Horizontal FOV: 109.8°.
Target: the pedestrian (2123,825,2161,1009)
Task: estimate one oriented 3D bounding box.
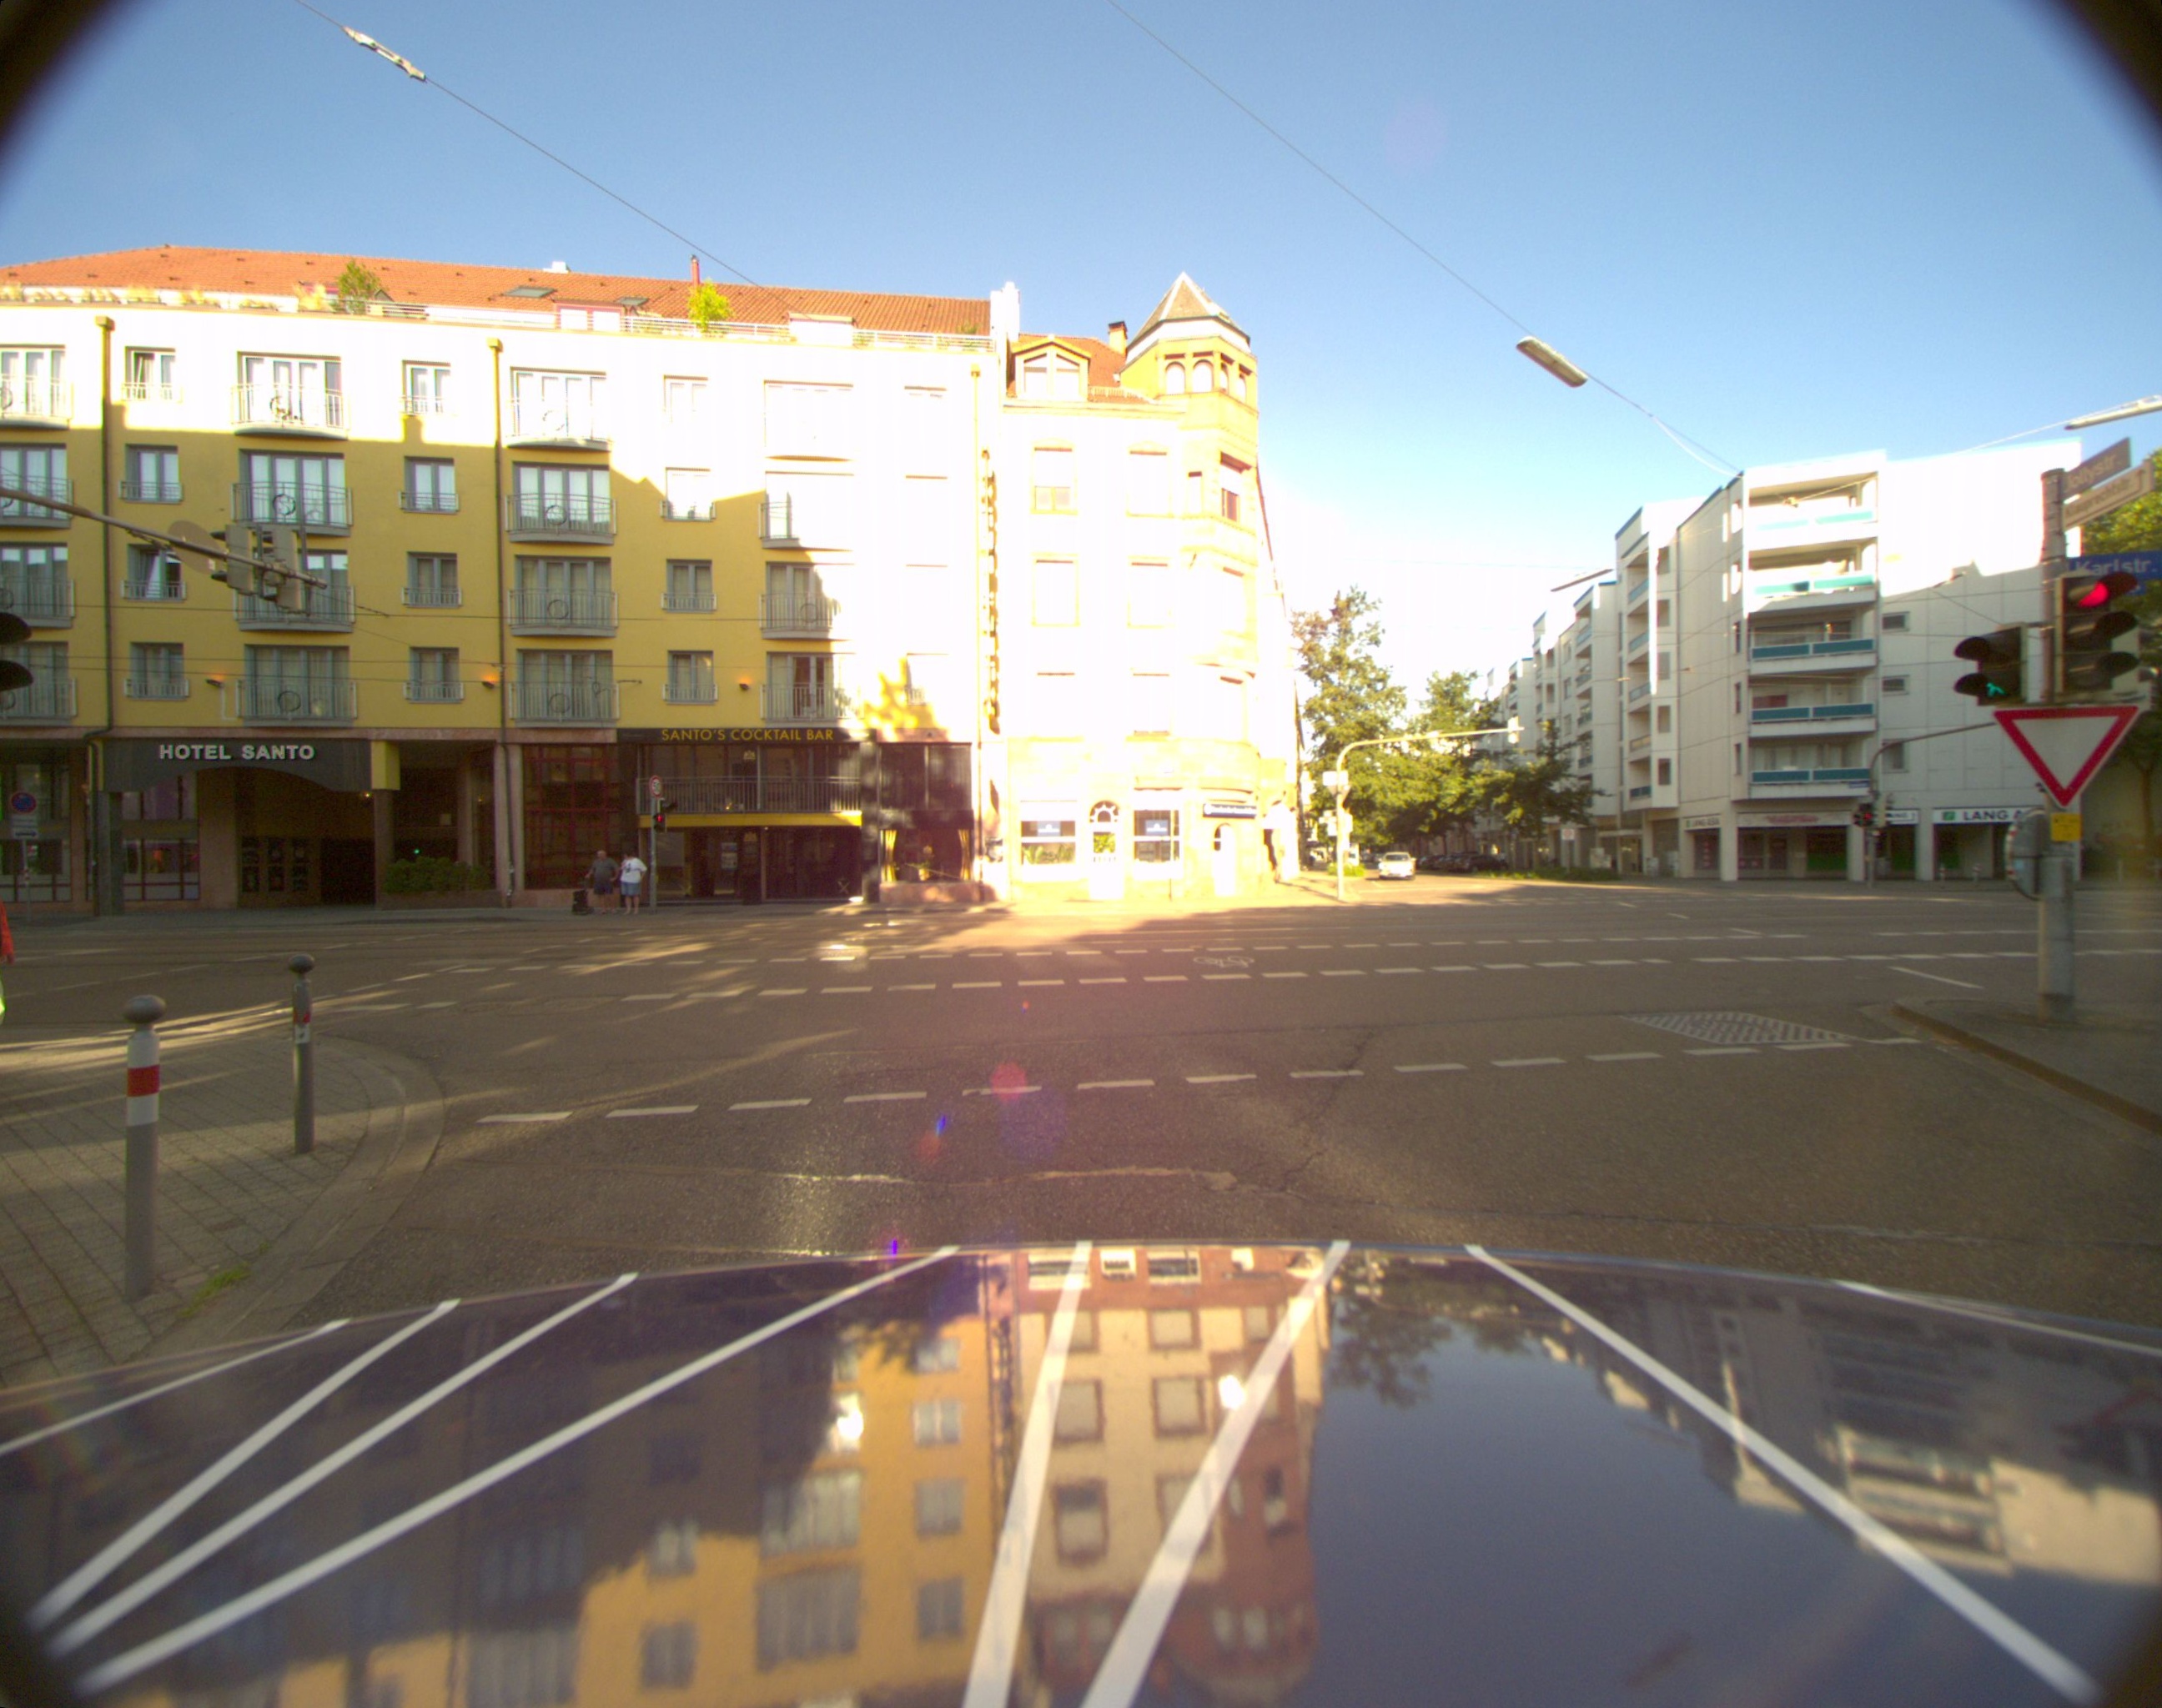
[{"bbox_3d":[10.439,0.571,6.895,0.985,1.688,0.868,-1,1,-16],"label":"pedestrian"}]

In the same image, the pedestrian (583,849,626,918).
[{"bbox_3d":[-13.208,0.801,21.099,0.679,1.831,0.726,-1,4,-5],"label":"pedestrian"}]

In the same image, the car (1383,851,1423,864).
[{"bbox_3d":[40.282,0.374,95.061,4.297,1.576,2.002,-1,0,11],"label":"car"}]

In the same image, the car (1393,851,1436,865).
[{"bbox_3d":[38.978,0.506,88.921,4.297,1.576,2.002,-1,0,11],"label":"car"}]

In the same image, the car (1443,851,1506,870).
[{"bbox_3d":[33.059,0.559,63.934,4.298,1.576,2.001,-1,0,10],"label":"car"}]

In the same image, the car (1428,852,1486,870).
[{"bbox_3d":[34.037,0.594,68.839,4.298,1.576,2.001,-1,0,10],"label":"car"}]

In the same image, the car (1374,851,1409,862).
[{"bbox_3d":[43.614,0.322,106.830,4.297,1.576,2.002,-1,0,11],"label":"car"}]

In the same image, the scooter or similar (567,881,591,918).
[{"bbox_3d":[-13.720,1.247,20.774,0.357,0.972,0.422,-1,4,-7],"label":"scooter or similar"}]

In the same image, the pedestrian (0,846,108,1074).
[{"bbox_3d":[-8.589,0.784,5.754,1.175,1.670,1.005,-1,1,-29],"label":"pedestrian"}]

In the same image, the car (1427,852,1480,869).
[{"bbox_3d":[36.477,0.647,74.520,4.297,1.576,2.002,-1,0,11],"label":"car"}]

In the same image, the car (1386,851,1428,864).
[{"bbox_3d":[39.543,0.454,92.281,4.297,1.576,2.002,-1,0,11],"label":"car"}]

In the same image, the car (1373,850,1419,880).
[{"bbox_3d":[18.702,0.630,45.266,1.996,1.739,4.005,-1,0,15],"label":"car"}]

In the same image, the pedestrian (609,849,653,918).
[{"bbox_3d":[-12.312,0.796,20.811,0.735,1.831,0.726,-1,4,-5],"label":"pedestrian"}]

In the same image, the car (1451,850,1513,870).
[{"bbox_3d":[32.453,0.473,61.558,3.994,1.576,2.001,-1,0,10],"label":"car"}]

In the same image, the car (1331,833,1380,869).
[{"bbox_3d":[25.596,-0.254,71.211,3.320,3.160,8.091,0,0,12],"label":"car"}]

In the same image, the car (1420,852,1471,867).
[{"bbox_3d":[37.236,0.558,77.721,4.297,1.576,2.002,-1,0,11],"label":"car"}]

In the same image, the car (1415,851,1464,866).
[{"bbox_3d":[37.735,0.492,80.084,4.297,1.576,2.002,-1,0,11],"label":"car"}]

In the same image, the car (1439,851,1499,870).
[{"bbox_3d":[33.866,0.551,66.400,4.298,1.576,2.001,-1,0,10],"label":"car"}]

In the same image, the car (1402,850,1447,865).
[{"bbox_3d":[38.451,0.362,85.136,4.297,1.576,2.002,-1,0,11],"label":"car"}]
